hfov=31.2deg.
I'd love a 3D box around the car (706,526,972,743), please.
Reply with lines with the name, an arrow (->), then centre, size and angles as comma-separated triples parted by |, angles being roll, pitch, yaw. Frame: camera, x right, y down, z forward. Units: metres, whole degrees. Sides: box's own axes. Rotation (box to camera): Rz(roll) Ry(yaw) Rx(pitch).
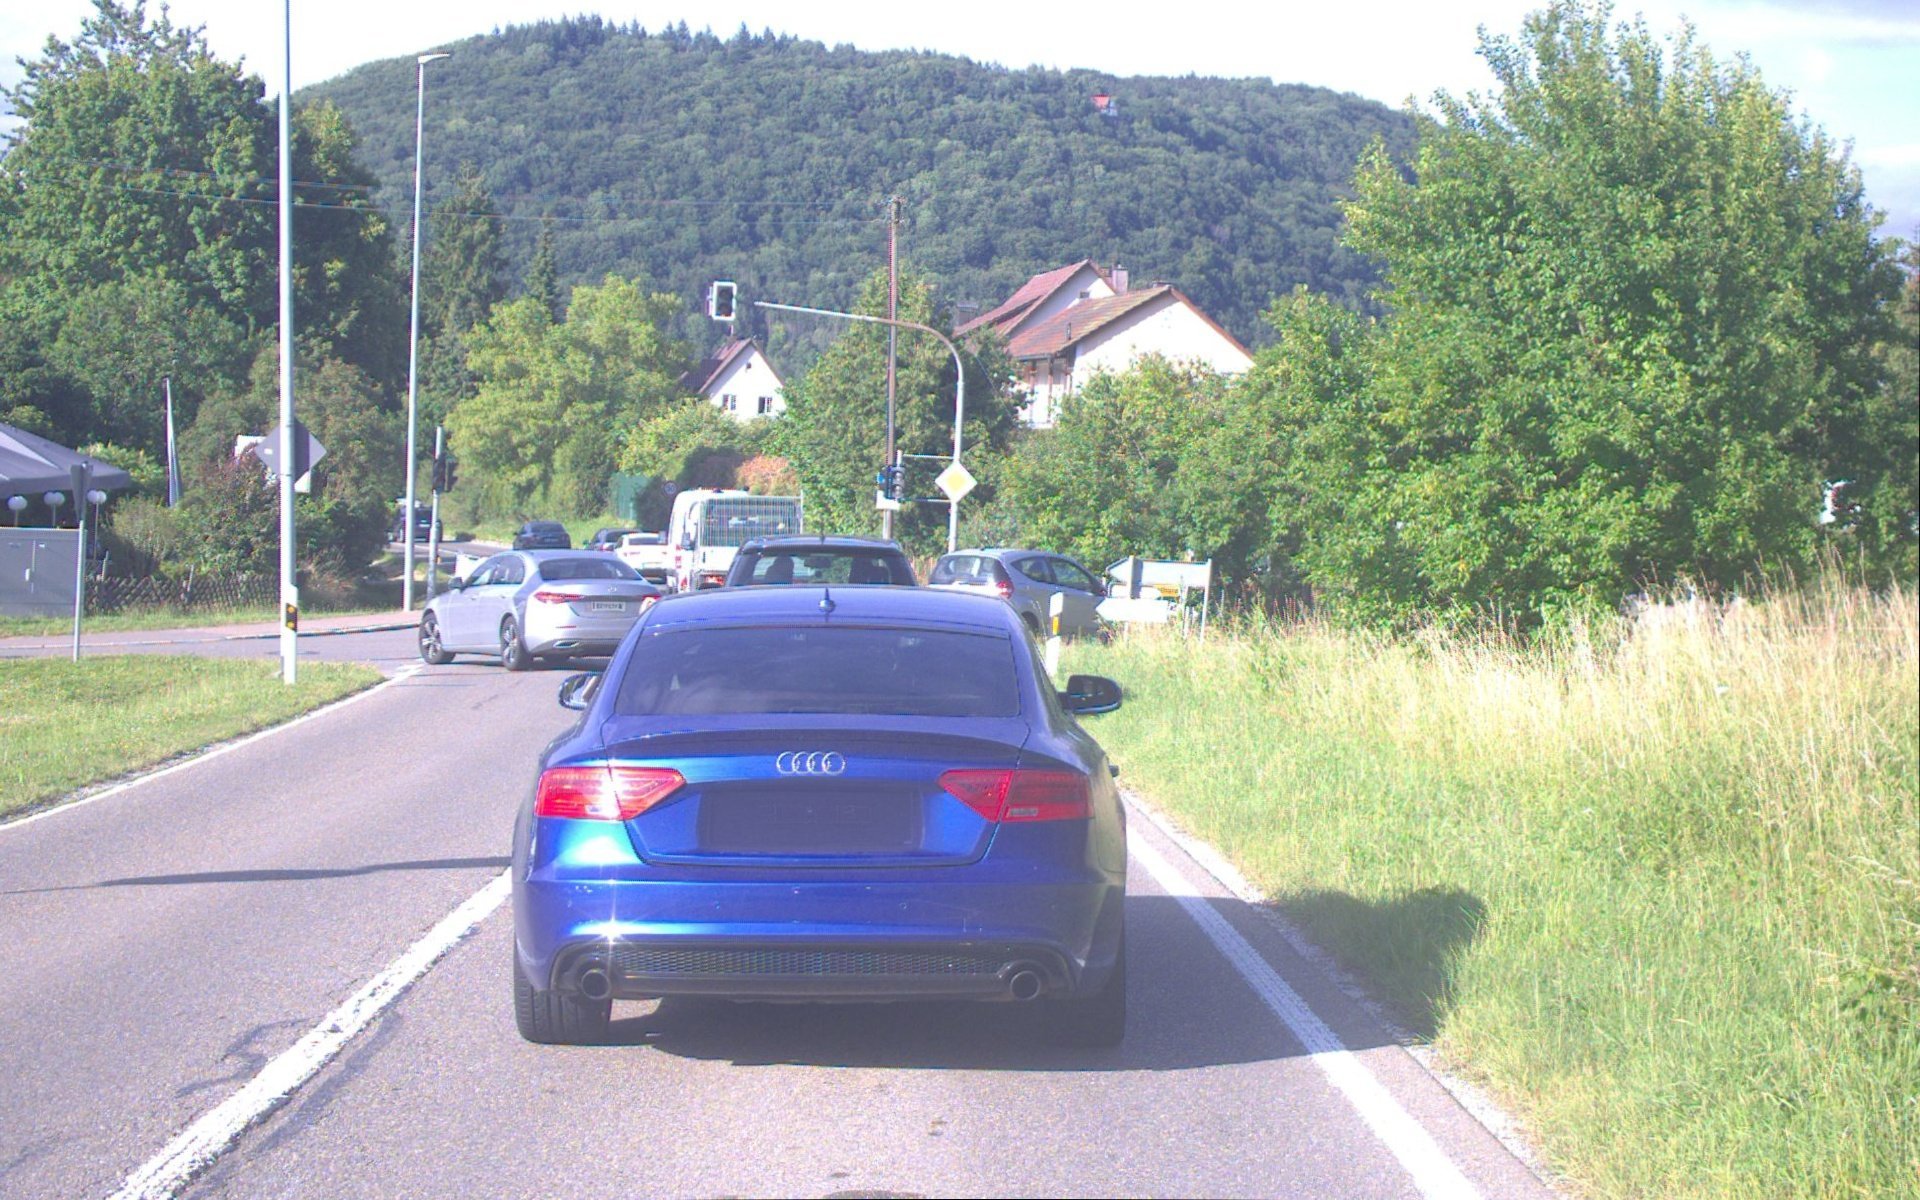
car -> -0.921, 0.256, 28.358 | 1.746, 1.634, 3.999 | 1, 0, 4

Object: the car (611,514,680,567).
car -> -9.068, -1.701, 99.006 | 1.697, 1.485, 3.528 | 1, 0, -9

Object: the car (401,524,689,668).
car -> -5.081, -0.067, 41.555 | 1.804, 1.634, 4.463 | 1, 0, -30

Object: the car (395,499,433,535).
car -> -24.975, -3.791, 157.197 | 1.625, 1.571, 3.680 | 1, 0, -10

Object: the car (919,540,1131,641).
car -> 1.033, -0.133, 52.618 | 1.627, 1.472, 3.725 | 1, 0, 30

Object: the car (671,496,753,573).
car -> -5.572, -1.447, 77.128 | 1.746, 1.634, 4.001 | 1, 0, -4

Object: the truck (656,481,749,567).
truck -> -6.222, -1.784, 82.554 | 1.697, 1.947, 5.924 | 1, 0, -9

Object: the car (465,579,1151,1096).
car -> -0.306, 0.630, 11.276 | 1.795, 1.383, 3.999 | 0, 0, 4

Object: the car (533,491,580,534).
car -> -14.907, -3.213, 126.882 | 1.697, 1.485, 3.527 | 1, 0, -7

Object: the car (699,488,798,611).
car -> -3.964, -0.923, 63.961 | 1.746, 2.188, 4.001 | 1, 0, -4
